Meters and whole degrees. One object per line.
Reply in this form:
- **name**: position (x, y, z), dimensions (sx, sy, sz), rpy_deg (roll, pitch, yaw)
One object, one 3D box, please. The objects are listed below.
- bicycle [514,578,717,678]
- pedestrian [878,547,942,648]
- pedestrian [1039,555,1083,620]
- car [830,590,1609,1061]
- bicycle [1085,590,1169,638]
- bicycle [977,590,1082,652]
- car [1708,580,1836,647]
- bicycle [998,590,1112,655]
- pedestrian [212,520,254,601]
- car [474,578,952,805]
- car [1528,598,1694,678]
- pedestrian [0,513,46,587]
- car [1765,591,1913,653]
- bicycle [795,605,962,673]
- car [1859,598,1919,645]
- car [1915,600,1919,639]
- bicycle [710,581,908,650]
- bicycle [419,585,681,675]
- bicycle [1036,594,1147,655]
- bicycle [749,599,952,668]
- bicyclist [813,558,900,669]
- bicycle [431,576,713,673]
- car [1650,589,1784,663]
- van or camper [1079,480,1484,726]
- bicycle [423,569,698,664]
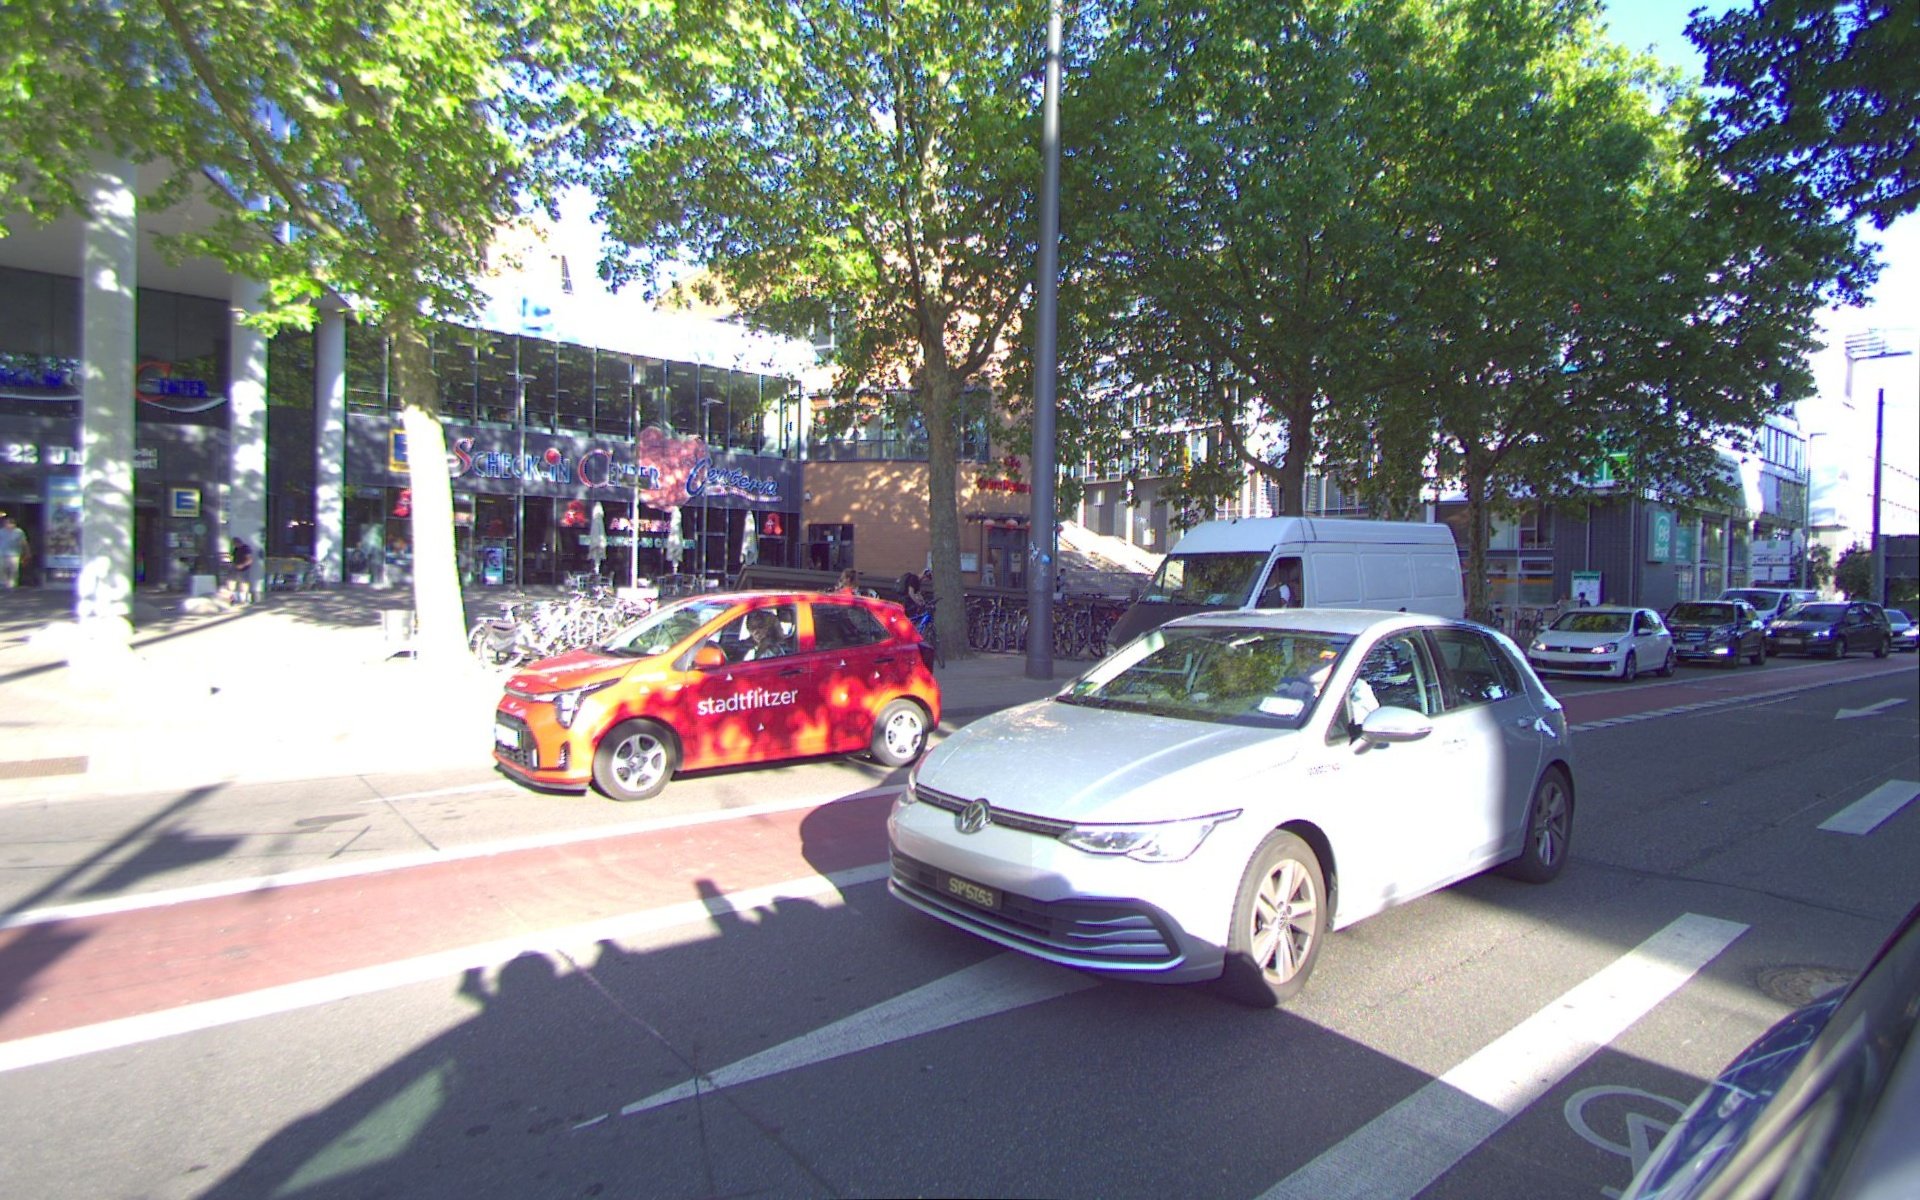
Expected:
- **bicycle**: position (-4.664, 0.342, 13.825), dimensions (2.504, 1.236, 0.758), rpy_deg (-2, 1, -35)
- **pedestrian**: position (-1.035, -0.068, 21.120), dimensions (0.922, 2.039, 1.085), rpy_deg (2, 1, 24)
- **pedestrian**: position (3.252, -0.400, 32.566), dimensions (0.995, 2.039, 1.015), rpy_deg (0, 0, -29)
- **car**: position (1.505, 0.712, 5.033), dimensions (3.927, 1.436, 1.752), rpy_deg (1, 0, -39)
- **bicycle**: position (4.498, 0.341, 27.112), dimensions (2.653, 1.215, 0.698), rpy_deg (-1, 1, -41)
- **bicycle**: position (1.416, 0.399, 20.280), dimensions (2.263, 1.177, 0.671), rpy_deg (-1, 0, -39)
- **car**: position (26.160, 0.378, 32.533), dimensions (5.810, 1.989, 1.933), rpy_deg (0, 0, -38)
- **bicycle**: position (1.875, 0.407, 19.675), dimensions (2.355, 1.177, 0.750), rpy_deg (-1, 0, -40)
- **pedestrian**: position (-18.781, -1.004, 26.171), dimensions (0.843, 2.039, 1.024), rpy_deg (0, 0, -34)
- **car**: position (-1.895, 0.584, 8.314), dimensions (3.533, 1.478, 1.493), rpy_deg (0, 0, -40)
- **car**: position (13.185, 0.693, 20.426), dimensions (3.914, 1.446, 1.639), rpy_deg (0, 0, -38)
- **pedestrian**: position (-24.983, -1.321, 26.774), dimensions (0.857, 1.912, 0.813), rpy_deg (1, 2, 2)
- **car**: position (25.108, 0.577, 28.893), dimensions (4.300, 1.656, 1.714), rpy_deg (0, 0, -27)
- **bicycle**: position (-1.245, 0.573, 16.007), dimensions (2.591, 0.960, 0.924), rpy_deg (-1, 0, -41)
- **car**: position (32.132, 0.709, 34.769), dimensions (1.830, 1.508, 4.131), rpy_deg (1, 1, 42)
- **car**: position (39.232, 0.738, 39.493), dimensions (4.112, 1.508, 1.838), rpy_deg (0, -1, -32)
- **bicycle**: position (-2.560, 0.226, 17.614), dimensions (3.352, 1.013, 1.051), rpy_deg (-1, 6, -41)
- **bicycle**: position (-6.363, 0.416, 15.953), dimensions (3.746, 1.236, 0.793), rpy_deg (-2, 1, -37)
- **bicycle**: position (2.503, 0.434, 19.074), dimensions (2.295, 1.073, 0.682), rpy_deg (-1, 1, -39)
- **bicycle**: position (-1.740, 0.500, 16.725), dimensions (3.352, 1.014, 1.050), rpy_deg (-1, 0, -41)
- **bicyclist**: position (-1.611, 0.194, 15.715), dimensions (1.005, 1.641, 0.902), rpy_deg (0, 0, -41)
- **bicycle**: position (-5.522, 0.300, 14.692), dimensions (3.744, 1.236, 0.758), rpy_deg (-2, 1, -35)
- **car**: position (18.682, 0.584, 24.922), dimensions (4.175, 1.656, 1.768), rpy_deg (0, 0, -40)
- **van or camper**: position (4.589, 0.007, 13.683), dimensions (6.380, 2.647, 2.005), rpy_deg (0, 1, -39)
- **bicycle**: position (-5.935, 0.290, 15.304), dimensions (3.743, 1.236, 0.729), rpy_deg (4, -2, -35)
